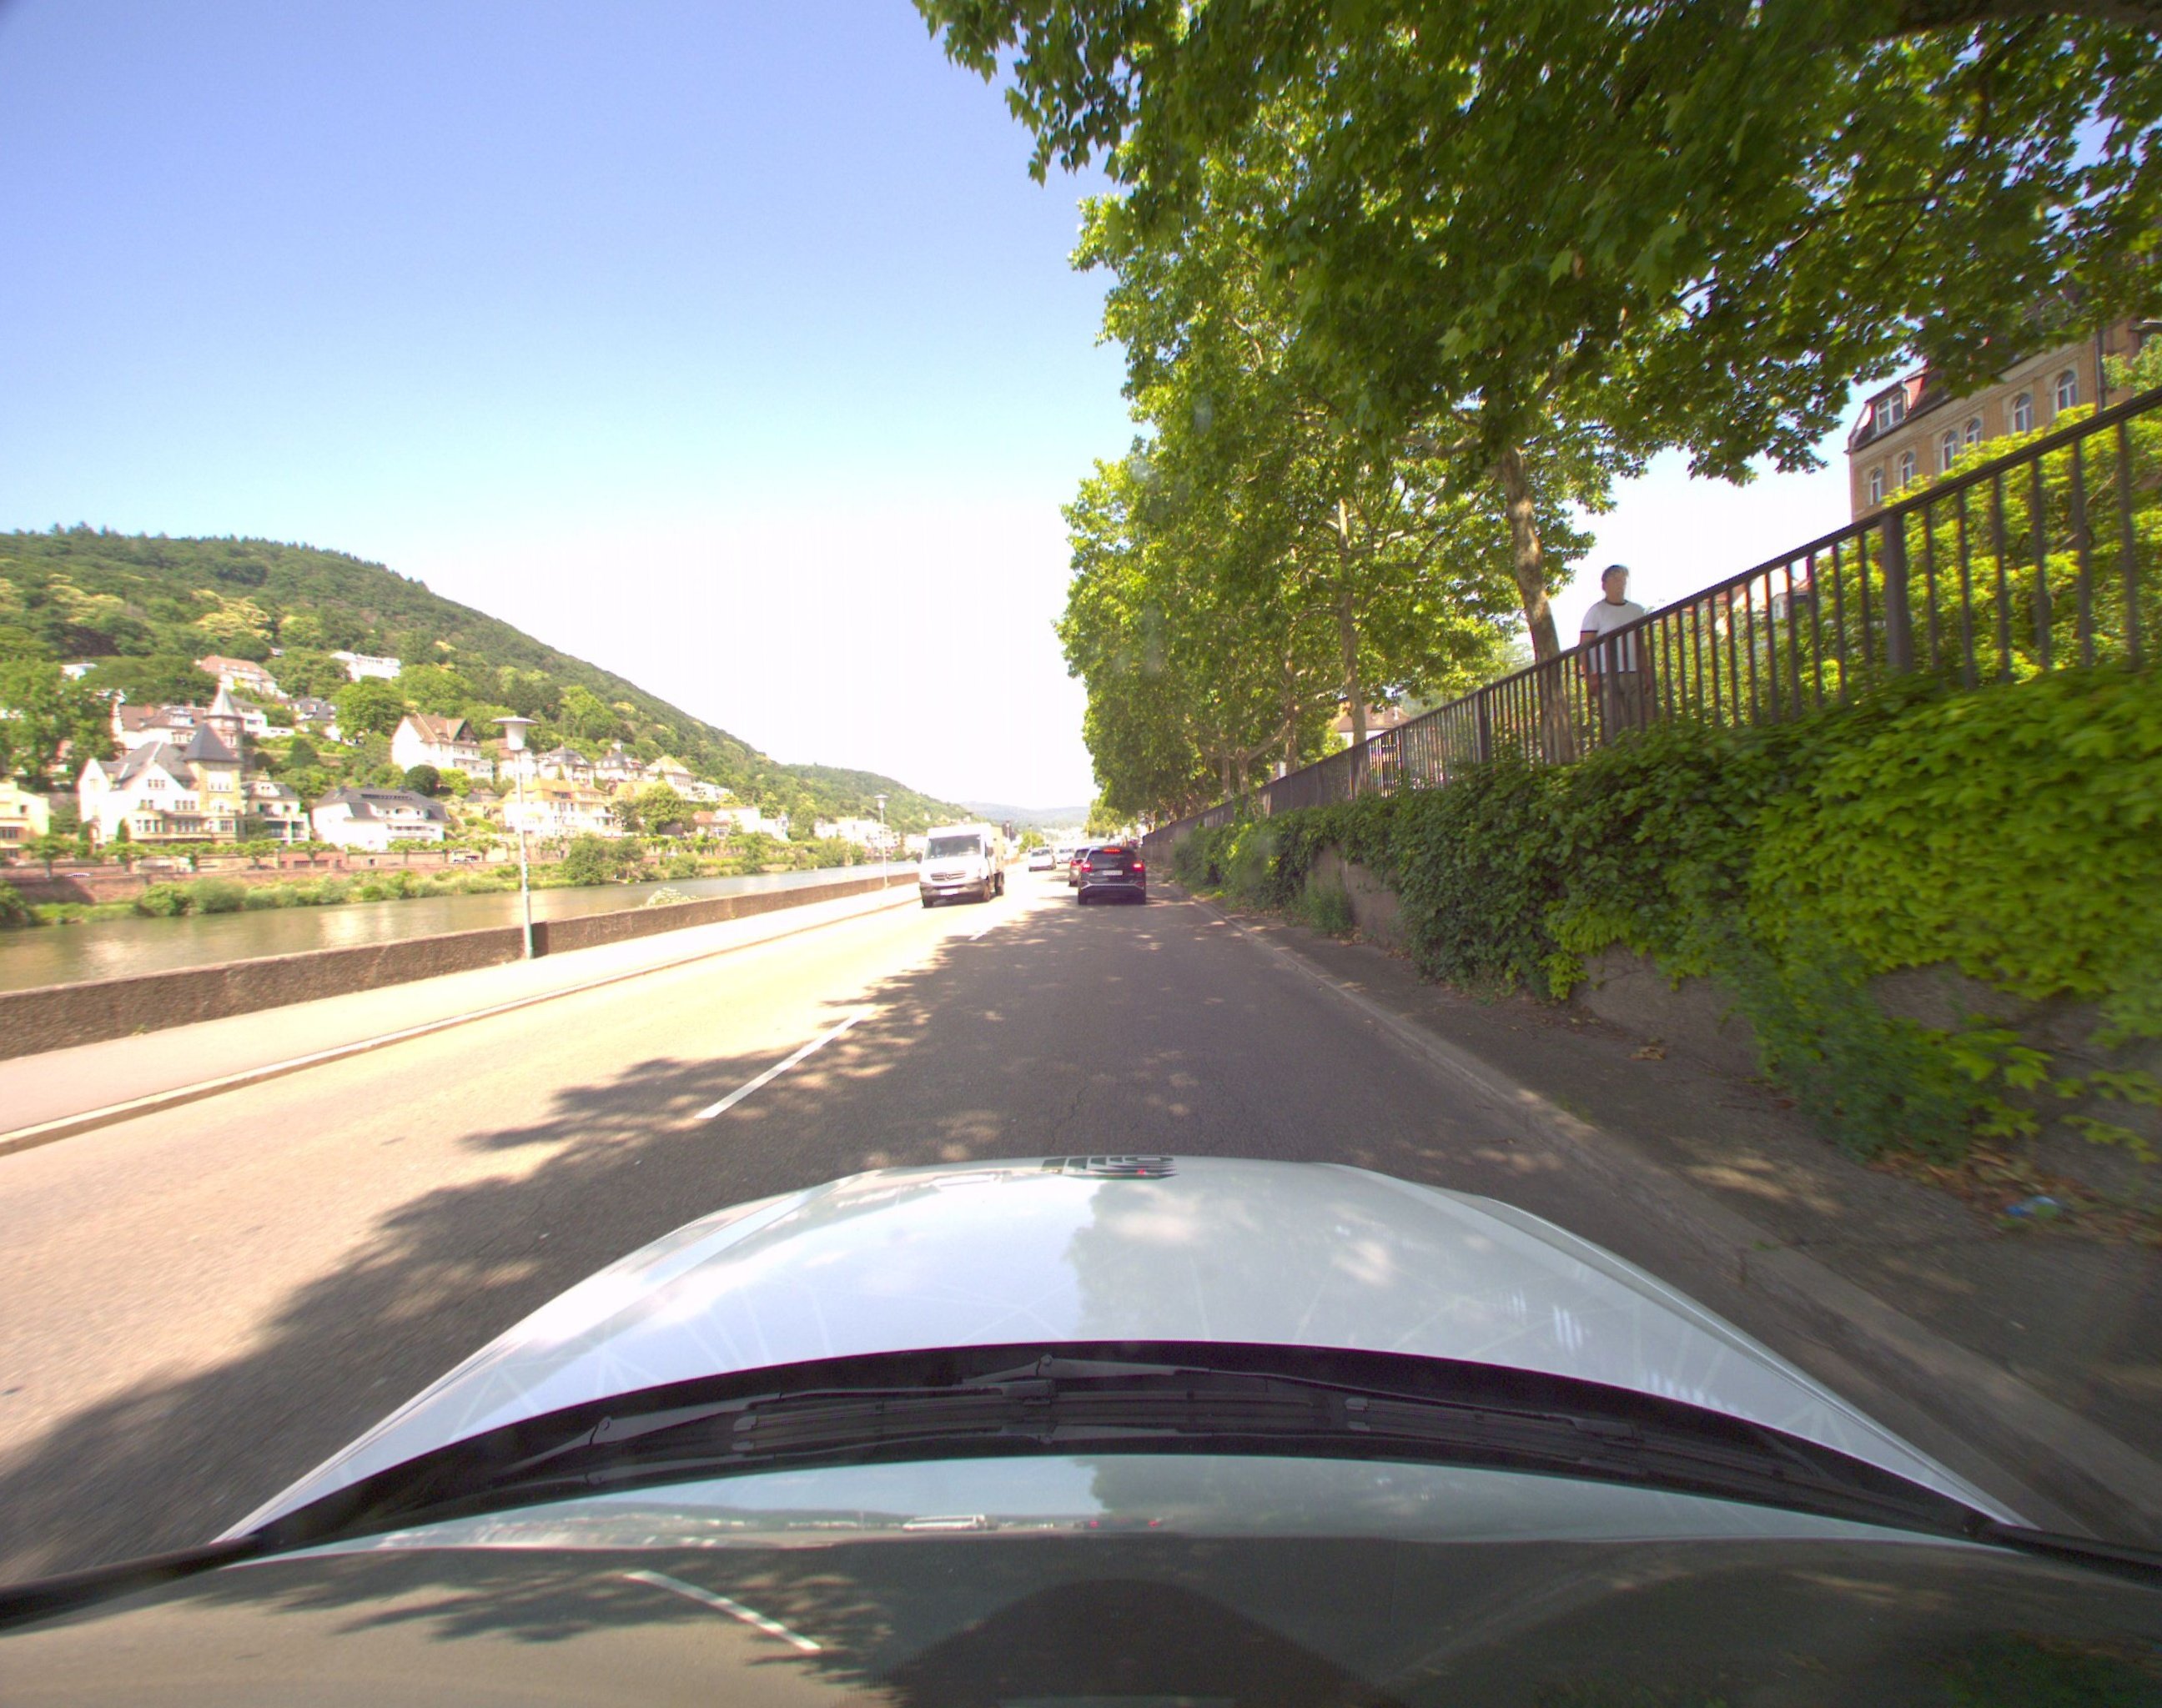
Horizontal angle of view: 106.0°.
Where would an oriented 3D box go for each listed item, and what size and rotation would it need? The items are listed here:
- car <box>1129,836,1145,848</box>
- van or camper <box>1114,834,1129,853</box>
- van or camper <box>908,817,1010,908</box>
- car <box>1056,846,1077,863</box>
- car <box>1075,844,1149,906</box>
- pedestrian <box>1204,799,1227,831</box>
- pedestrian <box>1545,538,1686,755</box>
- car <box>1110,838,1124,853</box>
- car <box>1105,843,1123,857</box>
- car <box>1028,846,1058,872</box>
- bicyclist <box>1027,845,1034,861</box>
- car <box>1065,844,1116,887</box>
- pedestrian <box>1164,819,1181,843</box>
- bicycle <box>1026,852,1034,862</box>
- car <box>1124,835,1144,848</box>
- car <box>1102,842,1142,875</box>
[{"bbox_3d":[10.723,-2.222,156.010,2.652,2.013,5.826,-5,1,1],"label":"car"},{"bbox_3d":[6.687,-1.713,134.408,2.300,2.847,4.250,-3,0,3],"label":"van or camper"},{"bbox_3d":[-3.727,0.214,25.967,2.069,2.398,5.387,-5,0,2],"label":"van or camper"},{"bbox_3d":[-1.357,0.056,76.918,1.725,1.441,4.047,-4,0,1],"label":"car"},{"bbox_3d":[0.828,0.497,22.399,1.822,1.486,4.001,-2,1,1],"label":"car"},{"bbox_3d":[6.058,-1.744,36.674,0.751,1.365,0.814,-5,0,0],"label":"pedestrian"},{"bbox_3d":[4.392,-1.673,6.732,0.662,1.591,0.651,-3,0,1],"label":"pedestrian"},{"bbox_3d":[5.371,-1.365,123.004,1.986,2.169,4.001,-2,1,1],"label":"car"},{"bbox_3d":[3.527,-0.421,87.942,1.822,1.444,4.001,-2,1,1],"label":"car"},{"bbox_3d":[-2.650,0.313,57.336,1.725,1.650,4.179,-4,0,1],"label":"car"},{"bbox_3d":[-5.491,-0.154,88.134,0.635,1.673,0.871,-3,0,1],"label":"bicyclist"},{"bbox_3d":[0.406,0.396,31.996,1.822,1.511,4.001,-2,1,1],"label":"car"},{"bbox_3d":[6.387,-1.571,56.758,0.933,1.579,1.028,-5,0,0],"label":"pedestrian"},{"bbox_3d":[-5.467,0.341,88.073,0.630,1.011,1.986,-3,0,1],"label":"bicycle"},{"bbox_3d":[9.419,-2.186,145.582,3.087,2.013,5.826,-5,1,1],"label":"car"},{"bbox_3d":[1.973,0.203,40.247,1.822,1.486,4.001,-2,1,1],"label":"car"}]
